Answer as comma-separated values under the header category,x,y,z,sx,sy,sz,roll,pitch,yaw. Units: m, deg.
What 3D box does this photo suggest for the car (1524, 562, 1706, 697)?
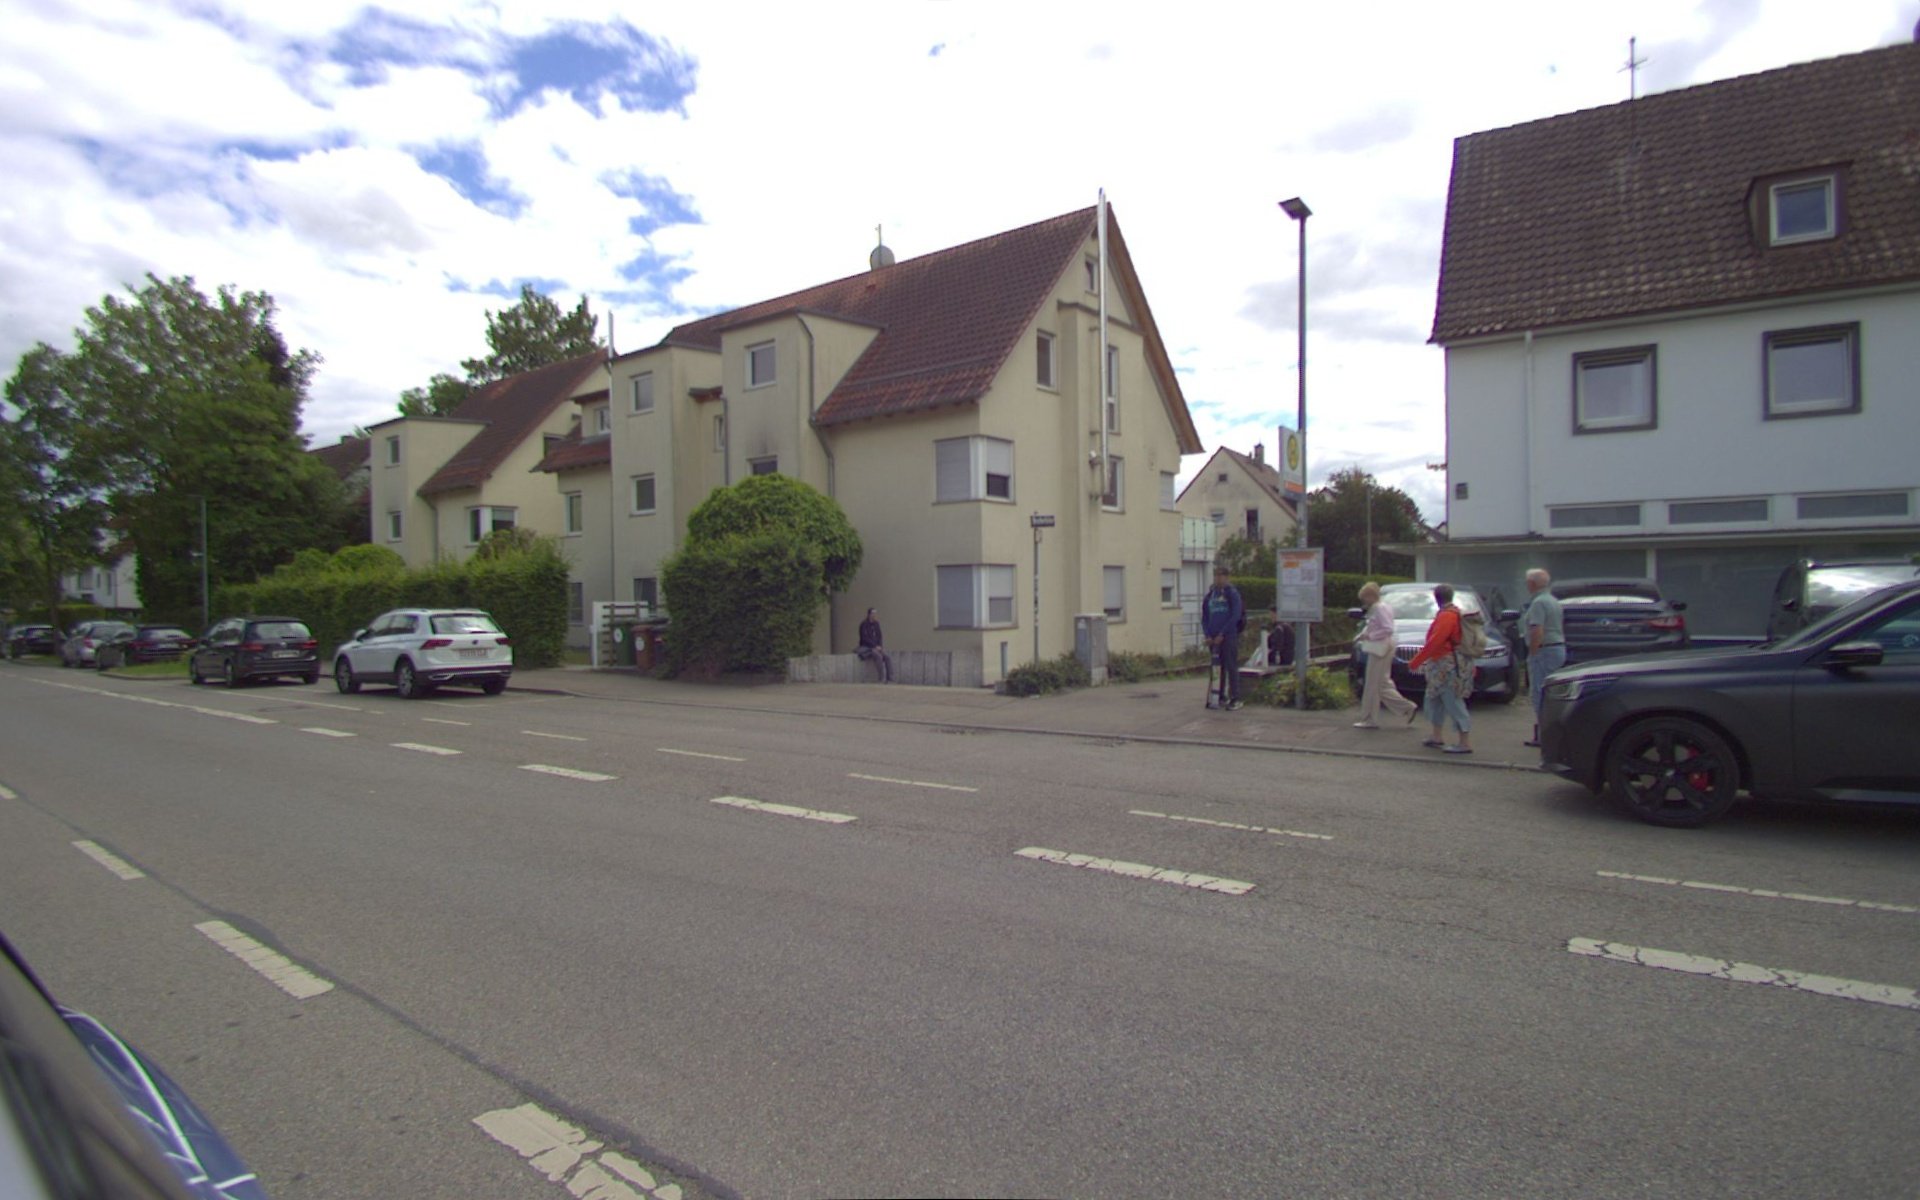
category,x,y,z,sx,sy,sz,roll,pitch,yaw
car,8.853,0.301,13.753,1.786,1.493,3.956,-2,2,33

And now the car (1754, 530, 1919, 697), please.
category,x,y,z,sx,sy,sz,roll,pitch,yaw
car,11.178,0.141,12.019,3.937,1.704,1.872,-1,-4,-40

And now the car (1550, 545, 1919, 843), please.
category,x,y,z,sx,sy,sz,roll,pitch,yaw
car,6.440,0.531,6.341,4.557,1.738,1.708,-2,0,37

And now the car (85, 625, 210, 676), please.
category,x,y,z,sx,sy,sz,roll,pitch,yaw
car,-25.838,1.561,32.146,4.882,1.496,1.975,-2,-2,37

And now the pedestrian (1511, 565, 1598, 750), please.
category,x,y,z,sx,sy,sz,roll,pitch,yaw
pedestrian,5.757,0.525,9.783,0.591,1.675,0.779,-1,2,38

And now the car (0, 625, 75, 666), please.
category,x,y,z,sx,sy,sz,roll,pitch,yaw
car,-40.993,1.993,44.608,5.031,1.659,2.075,-2,-2,38

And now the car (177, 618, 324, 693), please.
category,x,y,z,sx,sy,sz,roll,pitch,yaw
car,-16.616,1.246,23.627,4.267,1.563,1.661,-2,-1,38

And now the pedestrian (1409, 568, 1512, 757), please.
category,x,y,z,sx,sy,sz,roll,pitch,yaw
pedestrian,4.735,0.558,9.563,0.752,1.676,0.781,-2,1,33

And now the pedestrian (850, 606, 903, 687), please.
category,x,y,z,sx,sy,sz,roll,pitch,yaw
pedestrian,-1.684,0.915,20.313,0.663,1.572,0.837,0,-2,-45

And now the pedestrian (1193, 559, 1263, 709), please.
category,x,y,z,sx,sy,sz,roll,pitch,yaw
pedestrian,3.367,0.423,12.706,0.671,1.820,0.498,-2,-1,39

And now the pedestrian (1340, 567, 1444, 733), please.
category,x,y,z,sx,sy,sz,roll,pitch,yaw
pedestrian,4.677,0.518,10.941,0.879,1.675,0.781,-2,3,33

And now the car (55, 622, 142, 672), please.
category,x,y,z,sx,sy,sz,roll,pitch,yaw
car,-30.369,1.616,35.639,3.906,1.625,1.701,-2,-1,40

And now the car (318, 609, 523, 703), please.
category,x,y,z,sx,sy,sz,roll,pitch,yaw
car,-10.630,1.041,19.798,4.578,1.646,1.804,-2,-1,37

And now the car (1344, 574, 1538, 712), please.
category,x,y,z,sx,sy,sz,roll,pitch,yaw
car,6.437,0.457,13.924,2.023,1.565,4.494,-1,1,22

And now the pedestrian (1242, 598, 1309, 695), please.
category,x,y,z,sx,sy,sz,roll,pitch,yaw
pedestrian,4.441,0.647,14.264,0.705,1.323,0.581,-2,-1,41
